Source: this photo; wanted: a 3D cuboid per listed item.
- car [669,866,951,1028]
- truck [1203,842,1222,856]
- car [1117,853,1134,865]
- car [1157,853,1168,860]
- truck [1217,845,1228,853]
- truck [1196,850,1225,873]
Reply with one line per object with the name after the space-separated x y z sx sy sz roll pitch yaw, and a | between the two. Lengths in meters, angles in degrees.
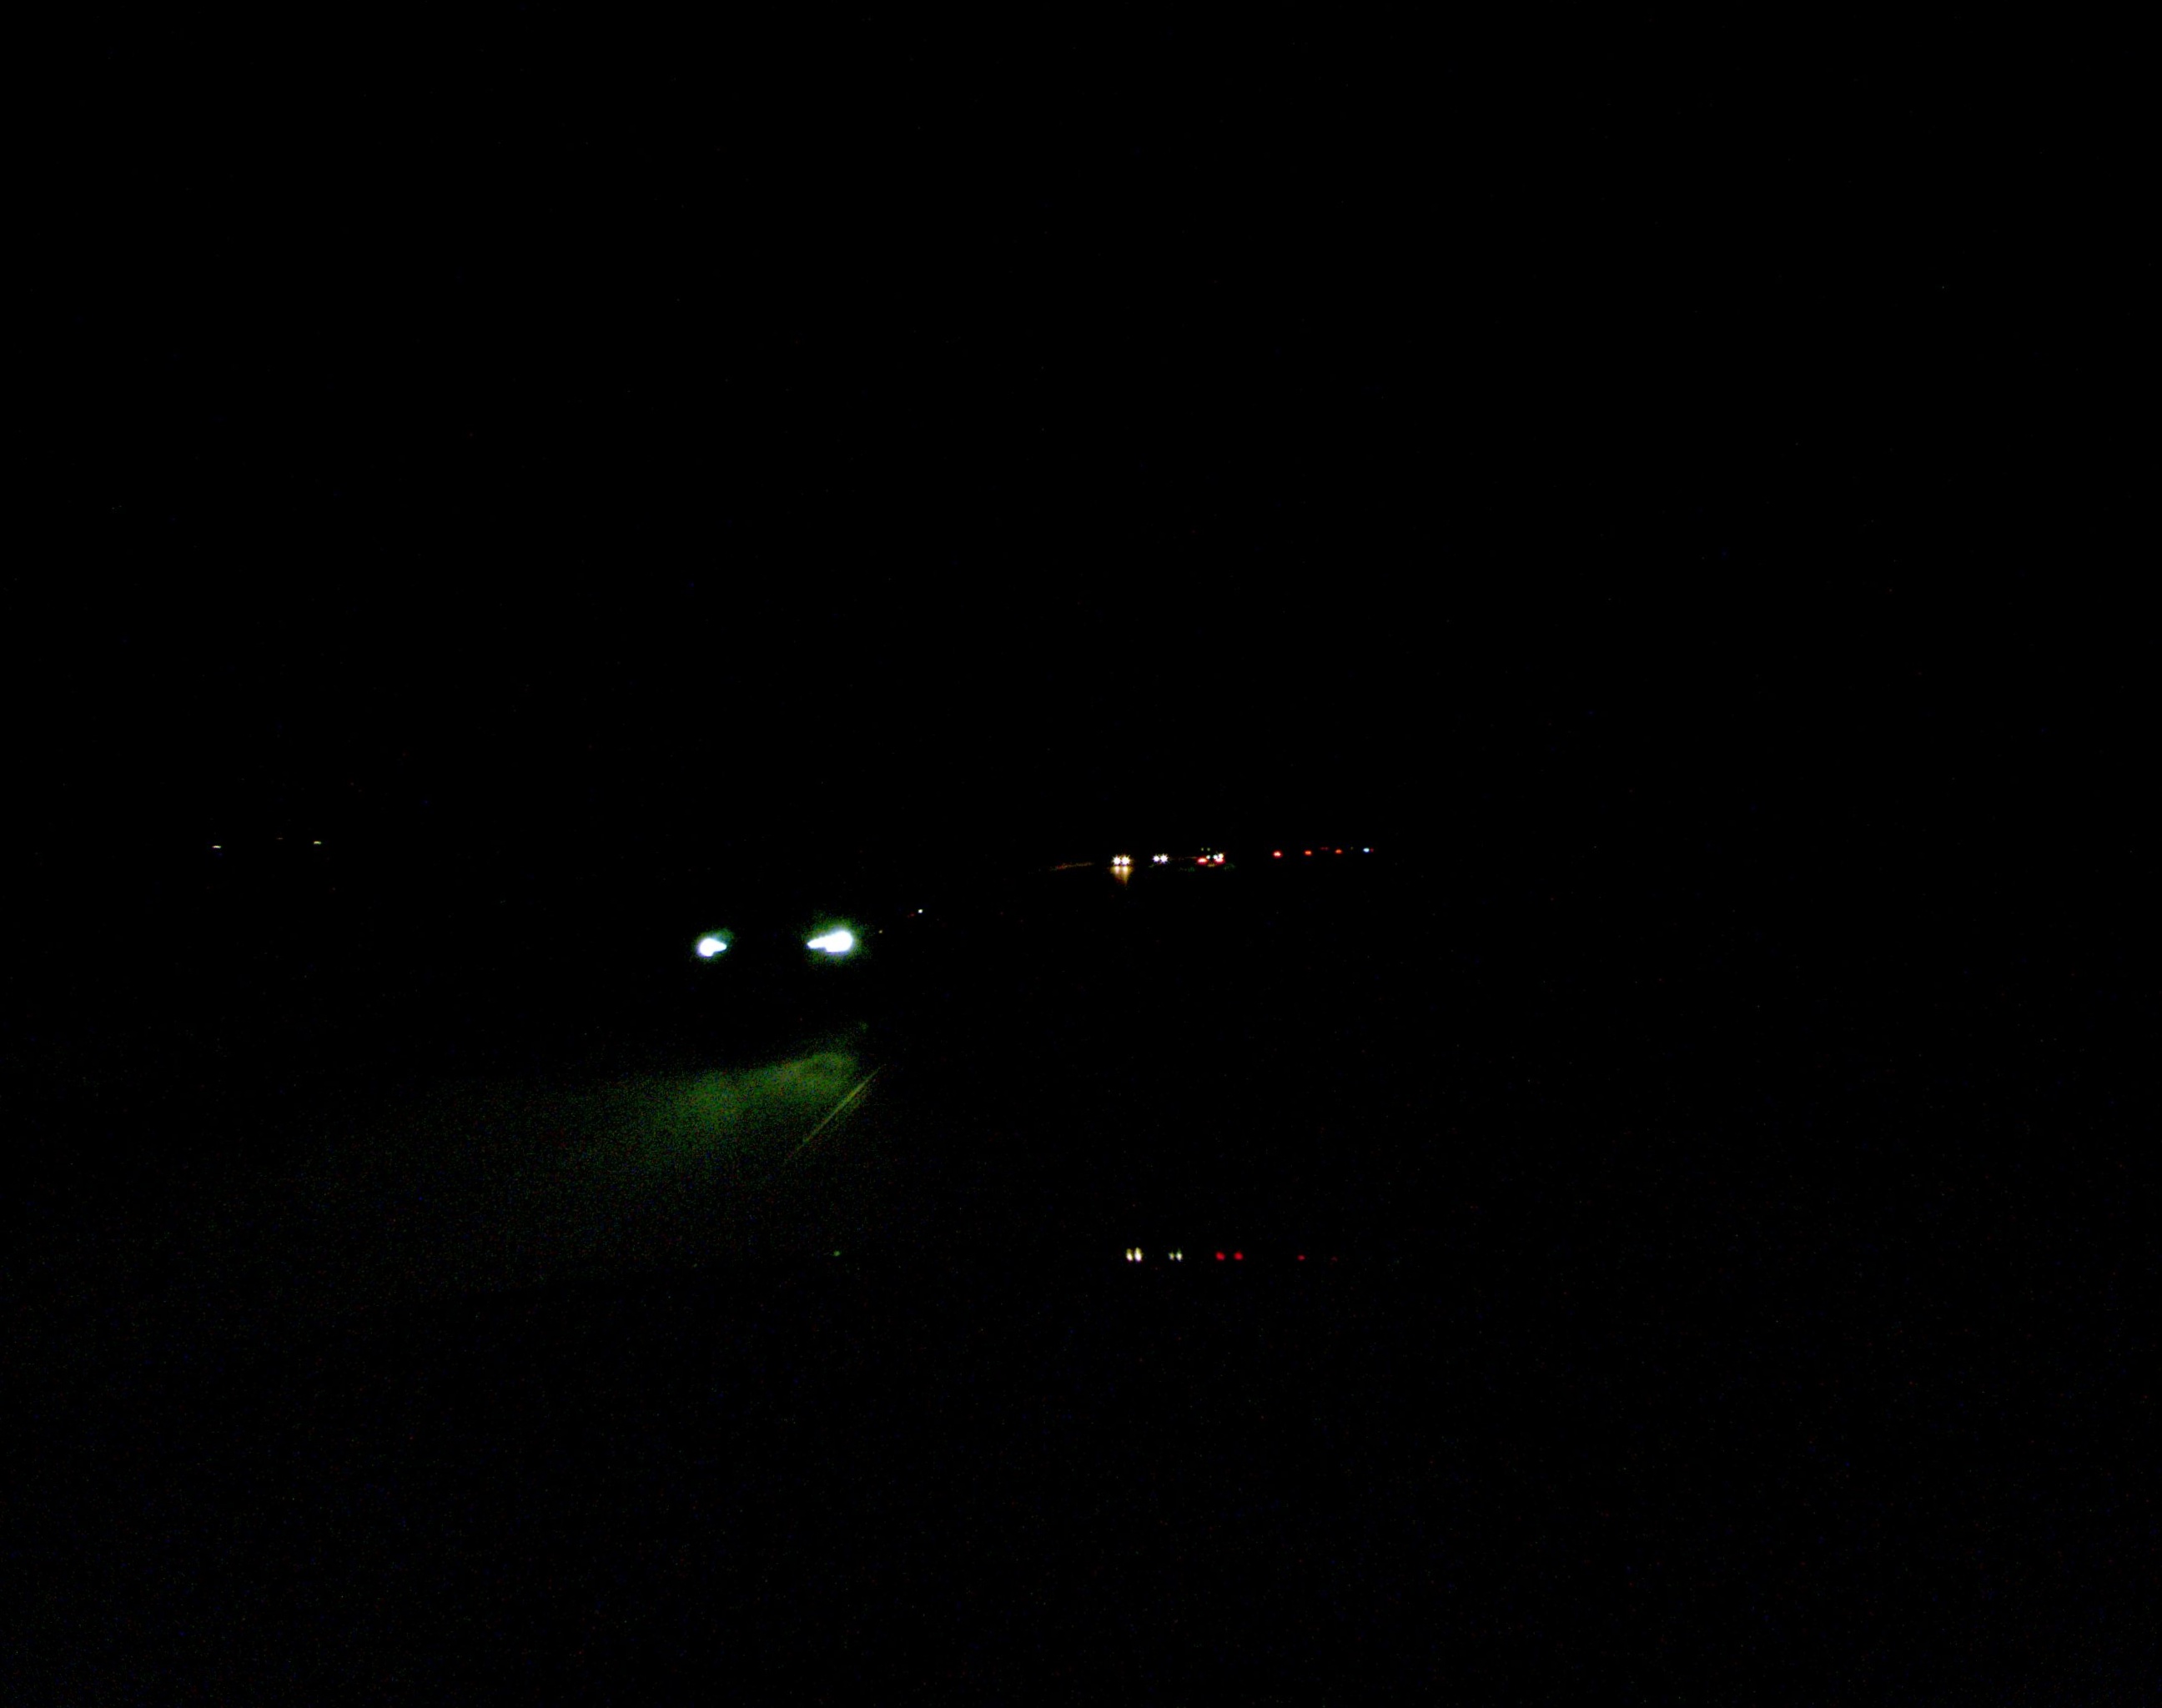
-3.165 0.983 10.122 1.812 1.418 4.874 -1 1 2 | car
42.553 -1.708 244.936 2.967 4.250 17.167 0 1 20 | truck
5.930 0.647 101.156 1.811 1.508 3.939 0 0 10 | car
16.545 0.514 154.258 1.811 1.508 3.940 0 0 13 | car
45.293 -1.602 243.295 2.423 2.410 7.101 0 1 19 | truck
9.309 0.484 54.996 1.686 1.461 4.154 -2 1 5 | truck
